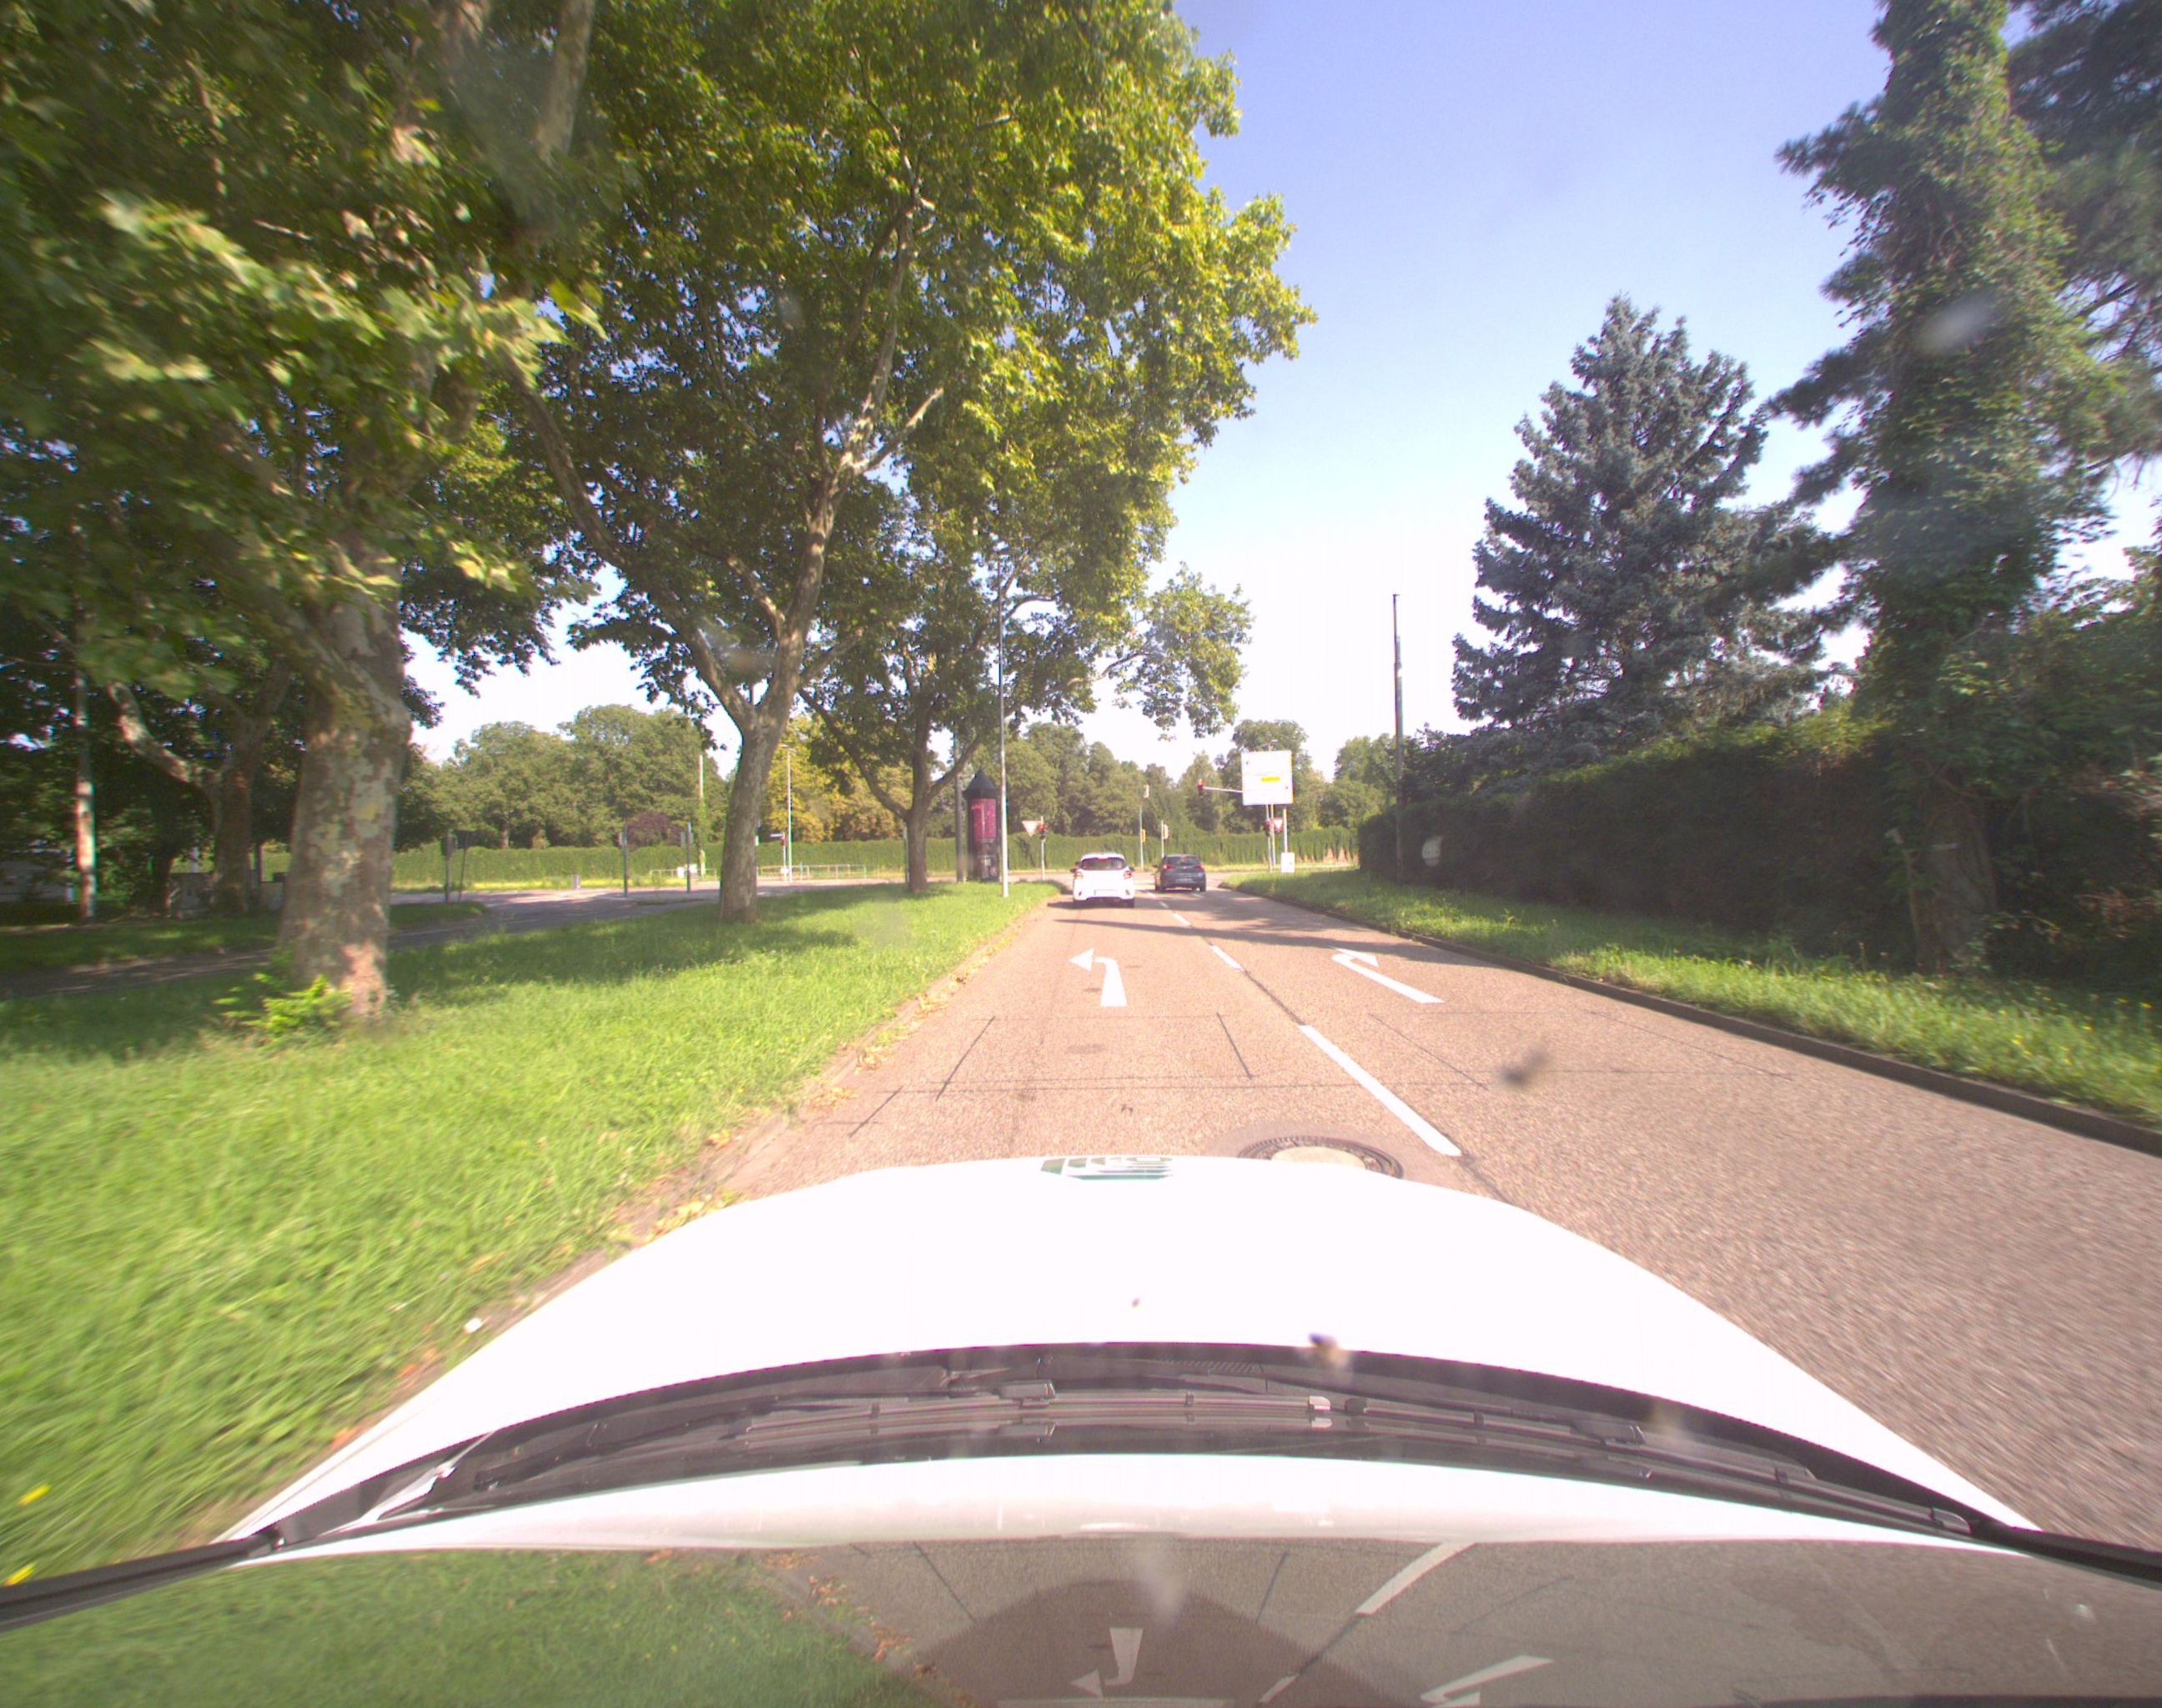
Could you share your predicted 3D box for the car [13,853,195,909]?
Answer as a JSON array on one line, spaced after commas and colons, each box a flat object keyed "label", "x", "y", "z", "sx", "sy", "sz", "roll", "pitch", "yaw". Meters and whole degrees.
[{"label": "car", "x": -43.185, "y": 1.124, "z": 36.240, "sx": 2.026, "sy": 2.263, "sz": 5.116, "roll": -1, "pitch": 0, "yaw": -3}]

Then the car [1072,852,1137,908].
[{"label": "car", "x": 0.727, "y": 0.693, "z": 23.666, "sx": 1.680, "sy": 1.462, "sz": 4.003, "roll": -1, "pitch": 0, "yaw": 3}]

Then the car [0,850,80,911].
[{"label": "car", "x": -38.905, "y": 0.941, "z": 28.427, "sx": 2.174, "sy": 2.137, "sz": 4.705, "roll": -1, "pitch": 0, "yaw": -3}]

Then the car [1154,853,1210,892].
[{"label": "car", "x": 3.923, "y": 0.691, "z": 32.283, "sx": 1.791, "sy": 1.401, "sz": 4.001, "roll": -1, "pitch": 0, "yaw": 1}]

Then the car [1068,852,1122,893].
[{"label": "car", "x": 0.591, "y": 0.669, "z": 31.042, "sx": 1.679, "sy": 1.462, "sz": 3.856, "roll": -1, "pitch": 0, "yaw": 6}]
